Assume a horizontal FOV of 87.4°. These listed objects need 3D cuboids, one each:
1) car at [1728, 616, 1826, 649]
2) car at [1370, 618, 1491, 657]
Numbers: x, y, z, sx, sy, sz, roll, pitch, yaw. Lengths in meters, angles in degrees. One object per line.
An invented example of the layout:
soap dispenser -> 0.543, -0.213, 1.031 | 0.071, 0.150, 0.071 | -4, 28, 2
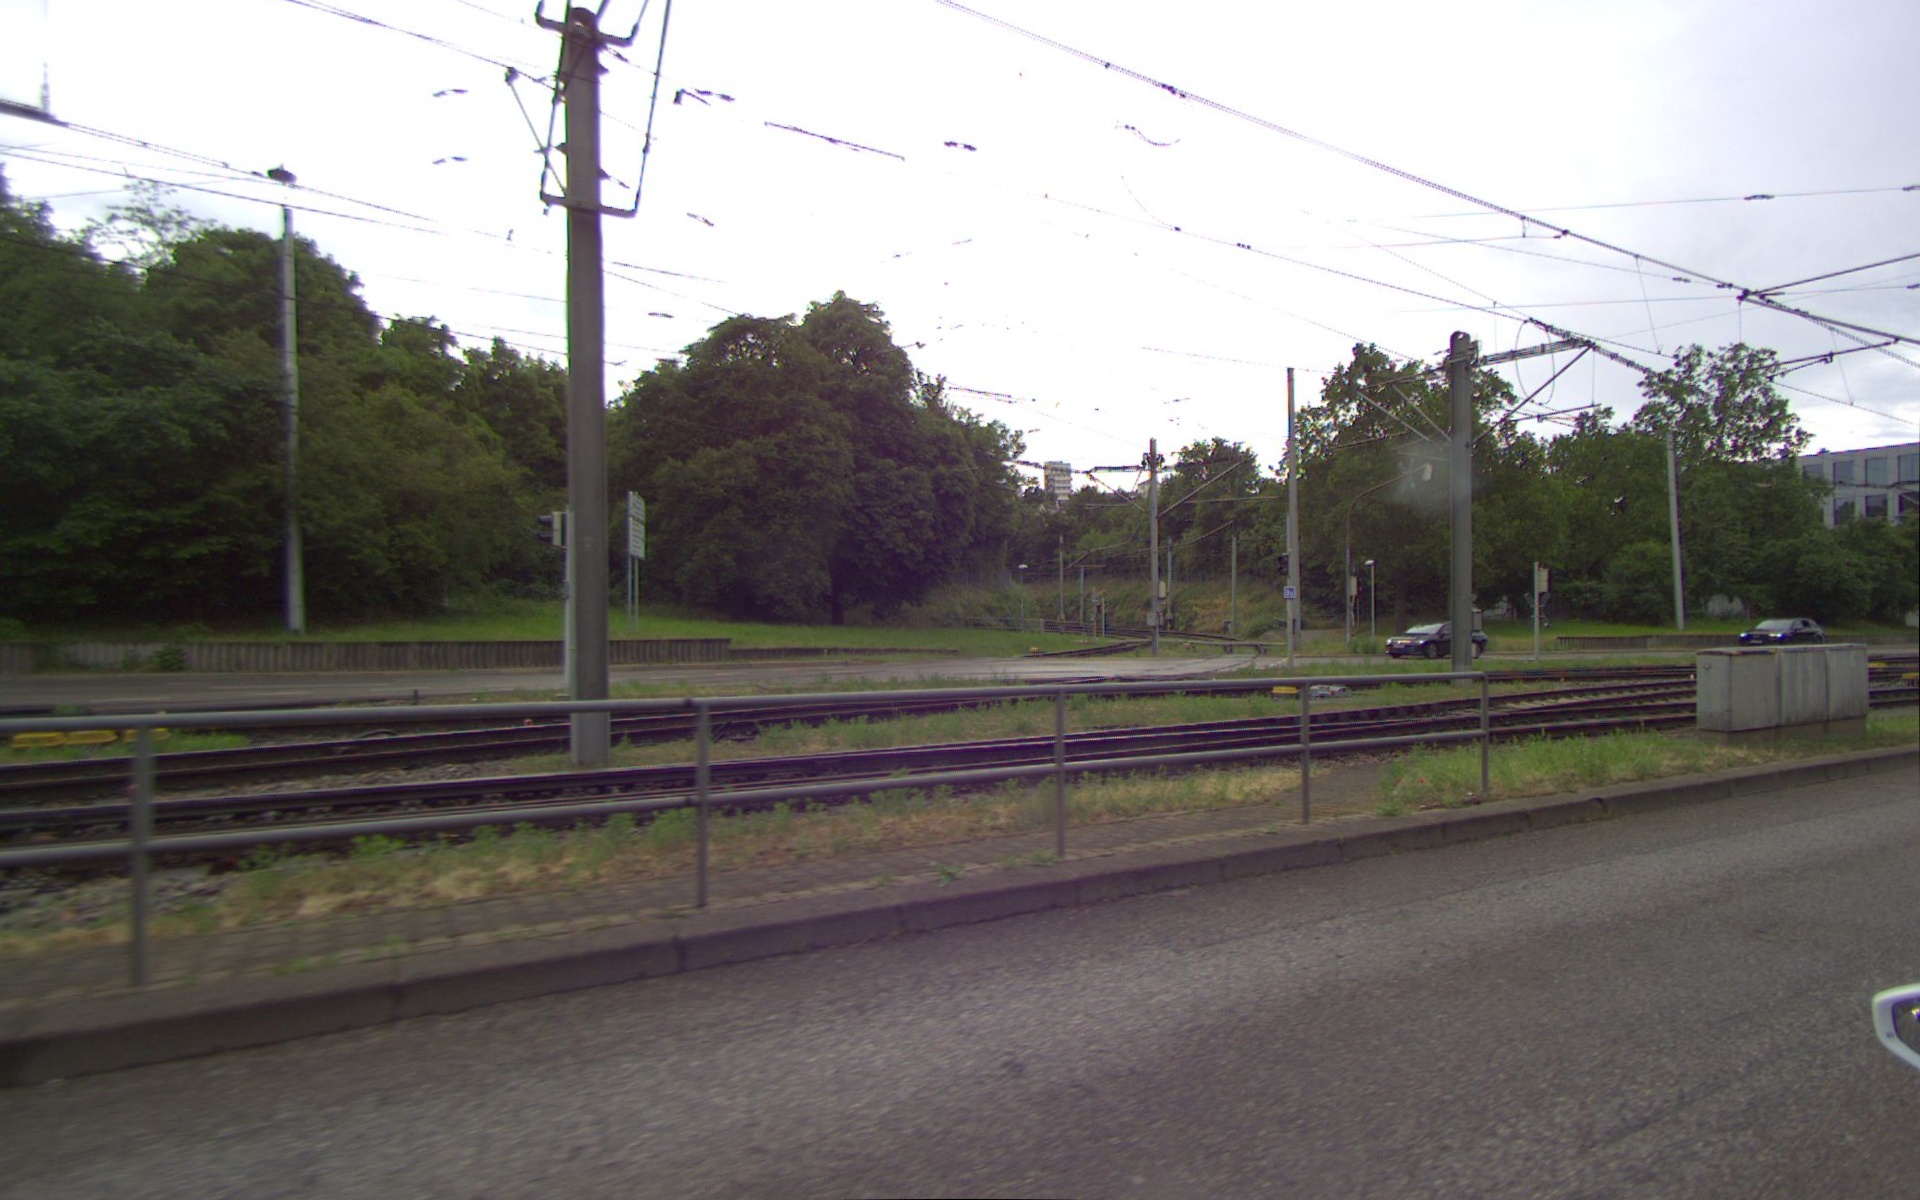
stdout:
car -> 41.715, 1.660, 51.287 | 5.093, 1.610, 2.081 | 1, -1, -28
car -> 18.438, 1.433, 39.321 | 4.624, 1.466, 1.919 | 1, -1, -28
